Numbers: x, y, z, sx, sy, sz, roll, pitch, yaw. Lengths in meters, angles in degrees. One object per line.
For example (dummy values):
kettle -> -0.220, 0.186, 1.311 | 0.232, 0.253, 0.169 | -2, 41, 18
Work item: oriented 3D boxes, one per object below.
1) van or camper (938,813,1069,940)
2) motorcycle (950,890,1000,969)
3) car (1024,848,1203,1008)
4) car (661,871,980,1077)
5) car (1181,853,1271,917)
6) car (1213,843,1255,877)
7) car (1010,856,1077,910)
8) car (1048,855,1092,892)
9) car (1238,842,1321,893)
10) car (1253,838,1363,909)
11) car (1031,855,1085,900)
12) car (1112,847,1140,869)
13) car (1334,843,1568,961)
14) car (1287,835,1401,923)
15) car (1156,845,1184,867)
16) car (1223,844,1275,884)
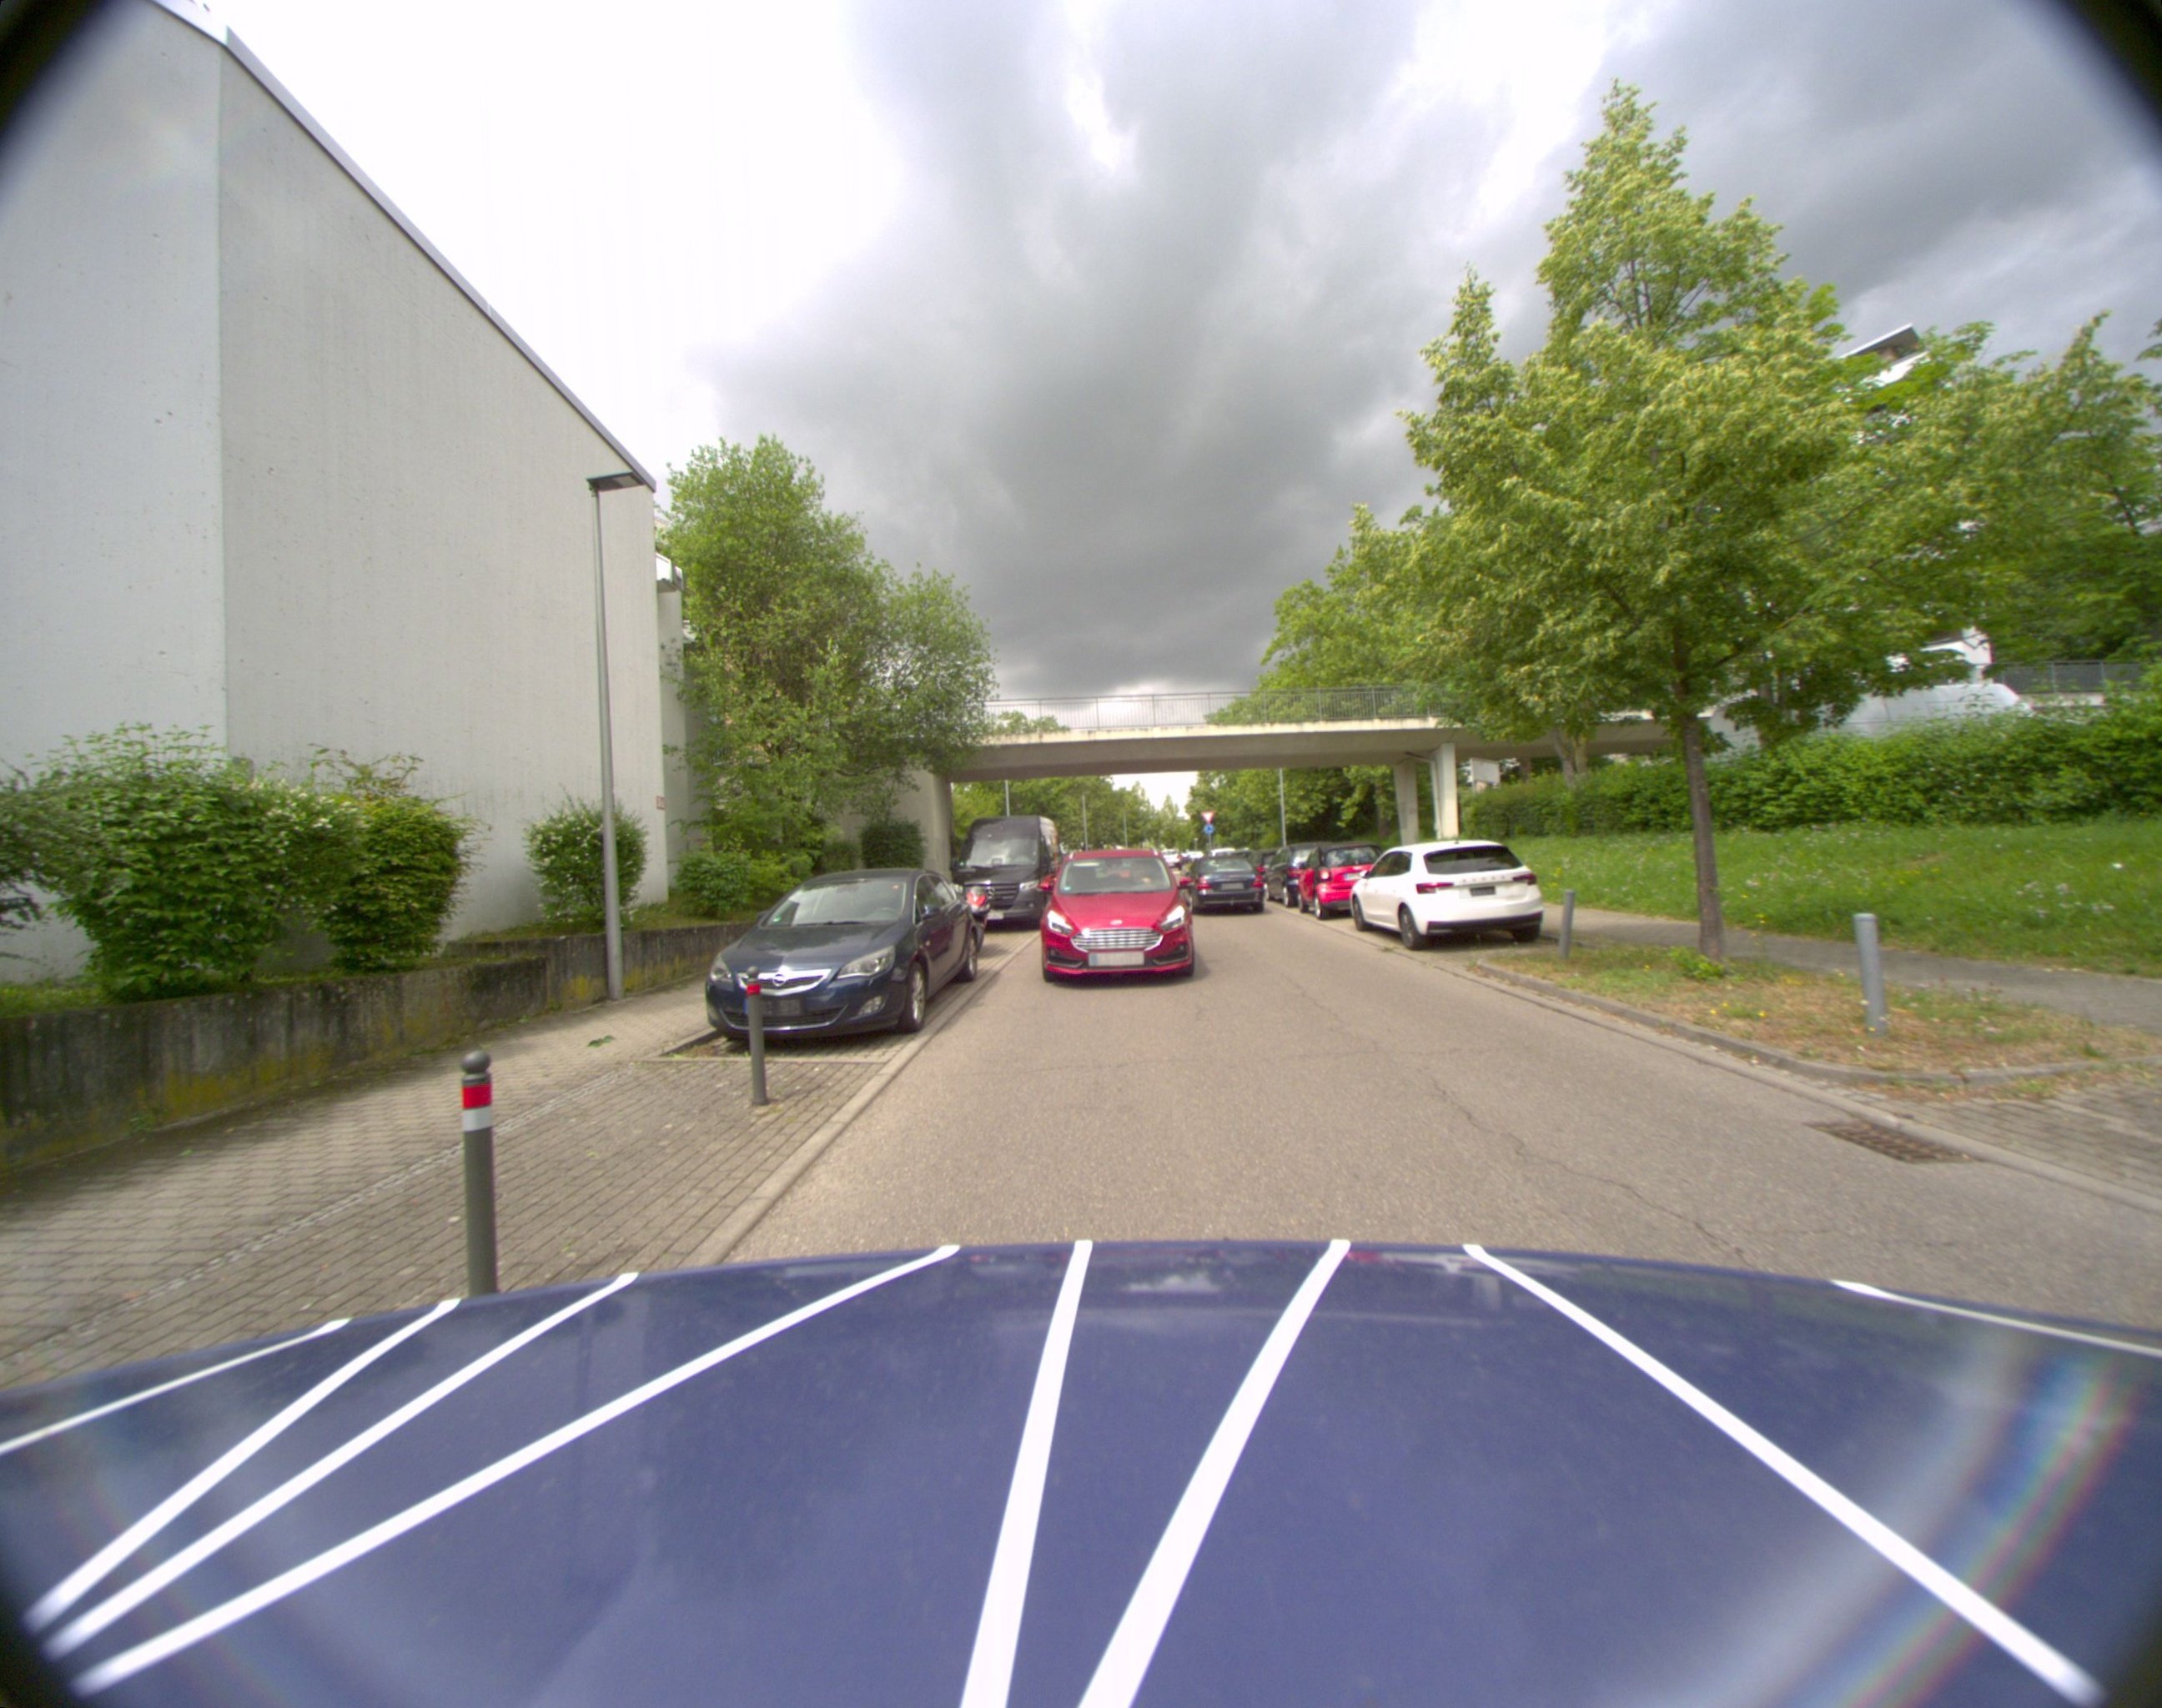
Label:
van or camper -> -1.615, 0.415, 18.165 | 1.998, 2.481, 5.759 | -2, 1, 5
motorcycle -> -1.752, 1.190, 12.534 | 0.710, 1.061, 1.929 | -3, 1, -8
car -> 0.478, 0.769, 9.816 | 1.812, 1.600, 3.723 | -2, 1, 4
car -> -2.246, 0.959, 7.765 | 1.695, 1.412, 4.000 | -2, 0, 2
car -> 3.640, 0.725, 19.786 | 1.756, 1.411, 4.369 | -2, 0, 4
car -> 7.796, 0.266, 38.955 | 1.811, 1.561, 3.724 | -2, 1, 8
car -> -1.110, 0.854, 24.017 | 1.586, 1.441, 3.723 | -2, 1, 4
car -> -0.445, 0.853, 34.960 | 1.604, 1.534, 3.723 | -2, 1, 4
car -> 6.756, 0.402, 26.352 | 1.812, 1.472, 4.486 | -4, 1, 3
car -> 5.970, 0.464, 20.477 | 1.812, 1.575, 3.986 | -5, 0, 3
car -> -0.807, 0.852, 29.159 | 1.604, 1.478, 3.723 | -2, 1, 4
car -> 3.216, 0.269, 54.008 | 1.779, 1.443, 4.001 | -2, 1, 6
car -> 5.433, 0.595, 11.820 | 1.812, 1.397, 4.049 | -5, 1, 4
car -> 5.573, 0.480, 16.394 | 1.597, 1.575, 2.686 | -6, 0, 6
car -> 6.900, 0.103, 59.054 | 1.812, 1.561, 3.722 | -2, 1, 2
car -> 7.312, 0.397, 33.343 | 1.812, 1.447, 3.862 | -6, 0, 8
